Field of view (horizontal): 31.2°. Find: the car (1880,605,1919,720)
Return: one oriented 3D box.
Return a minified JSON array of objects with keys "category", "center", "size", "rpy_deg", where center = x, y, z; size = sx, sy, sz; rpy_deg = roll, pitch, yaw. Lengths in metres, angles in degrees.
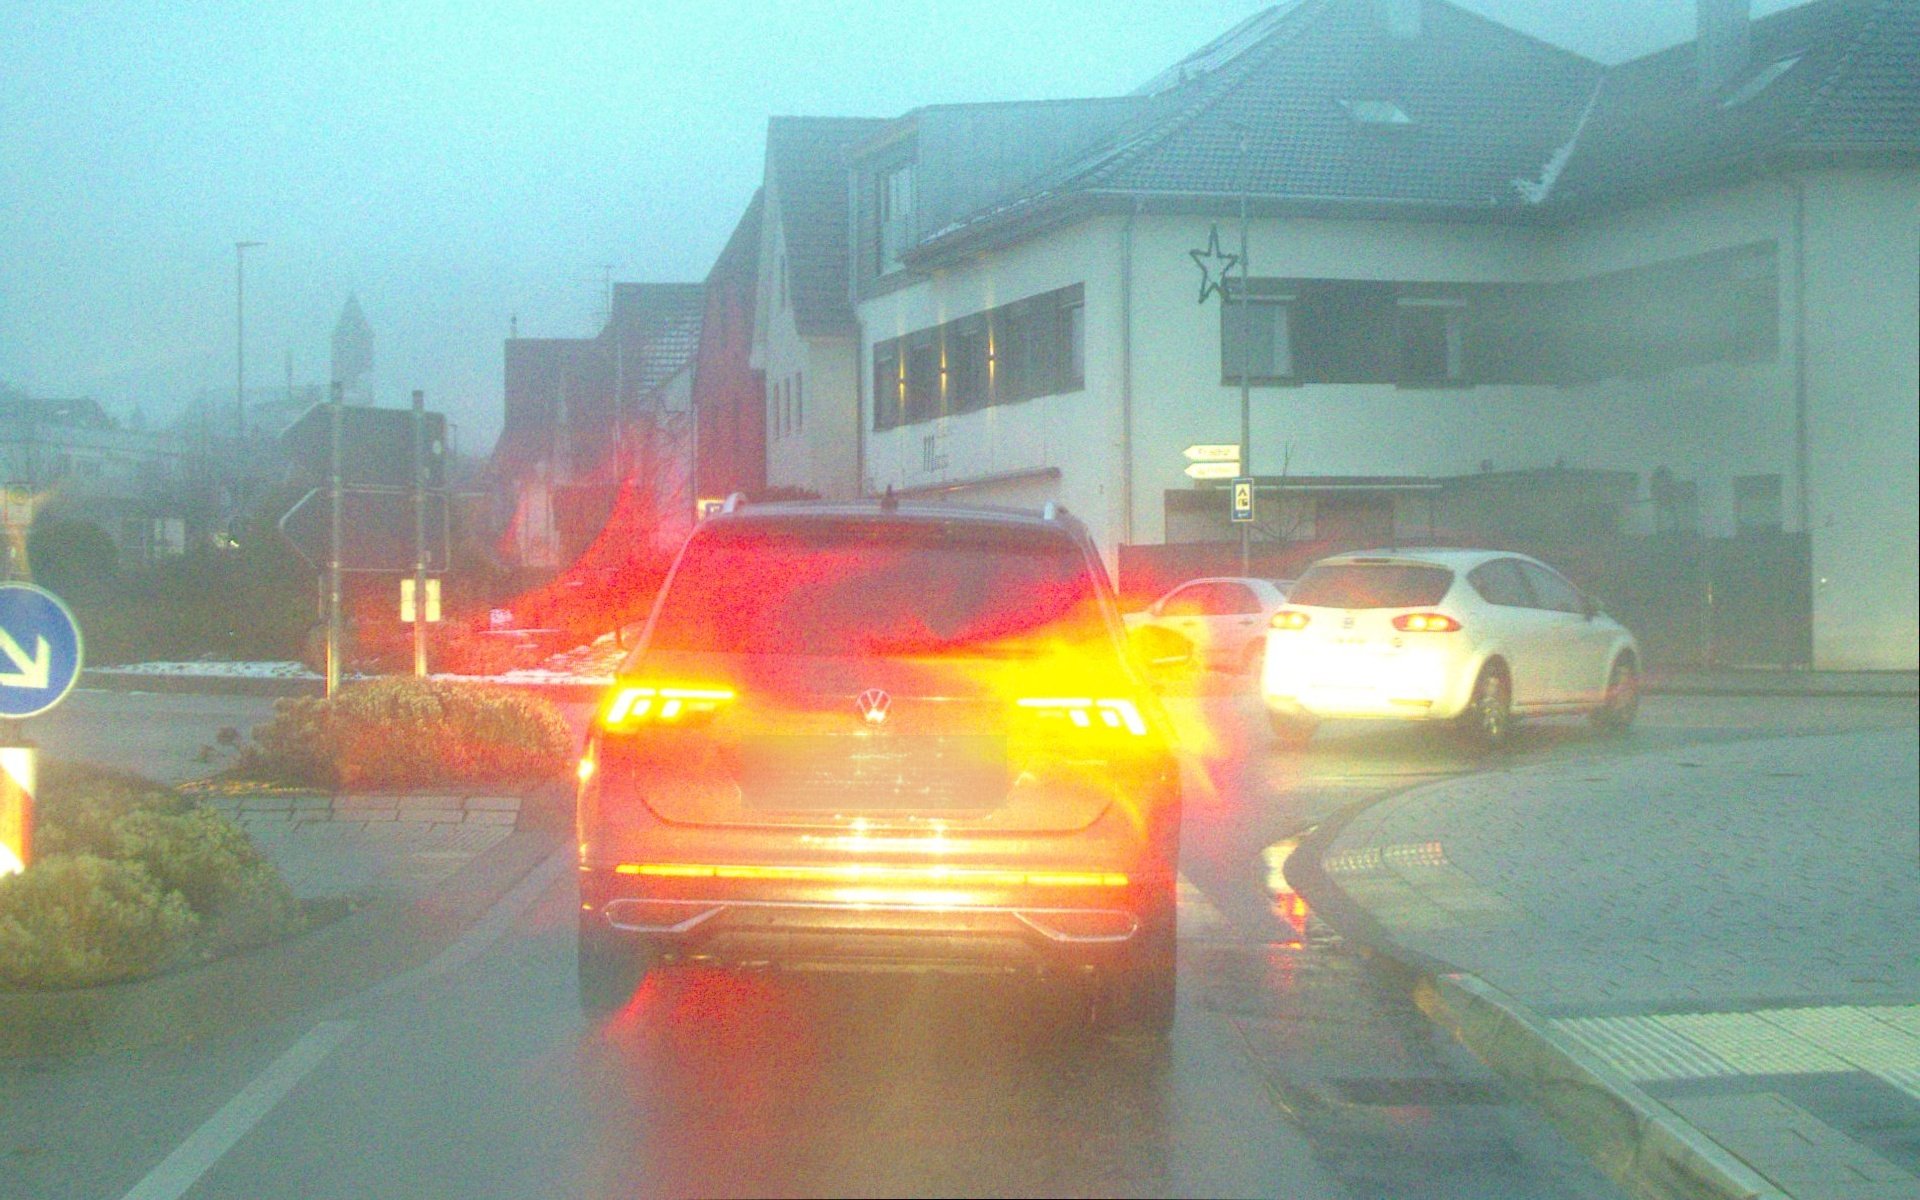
[{"category":"car","center":[13.591,0.786,41.872],"size":[4.220,1.379,1.851],"rpy_deg":[1,-2,-6]}]

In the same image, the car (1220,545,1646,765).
[{"category":"car","center":[3.680,0.348,26.197],"size":[1.781,1.533,3.925],"rpy_deg":[0,1,32]}]

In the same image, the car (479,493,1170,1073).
[{"category":"car","center":[-0.437,0.483,11.577],"size":[1.915,1.609,3.951],"rpy_deg":[0,1,-2]}]
